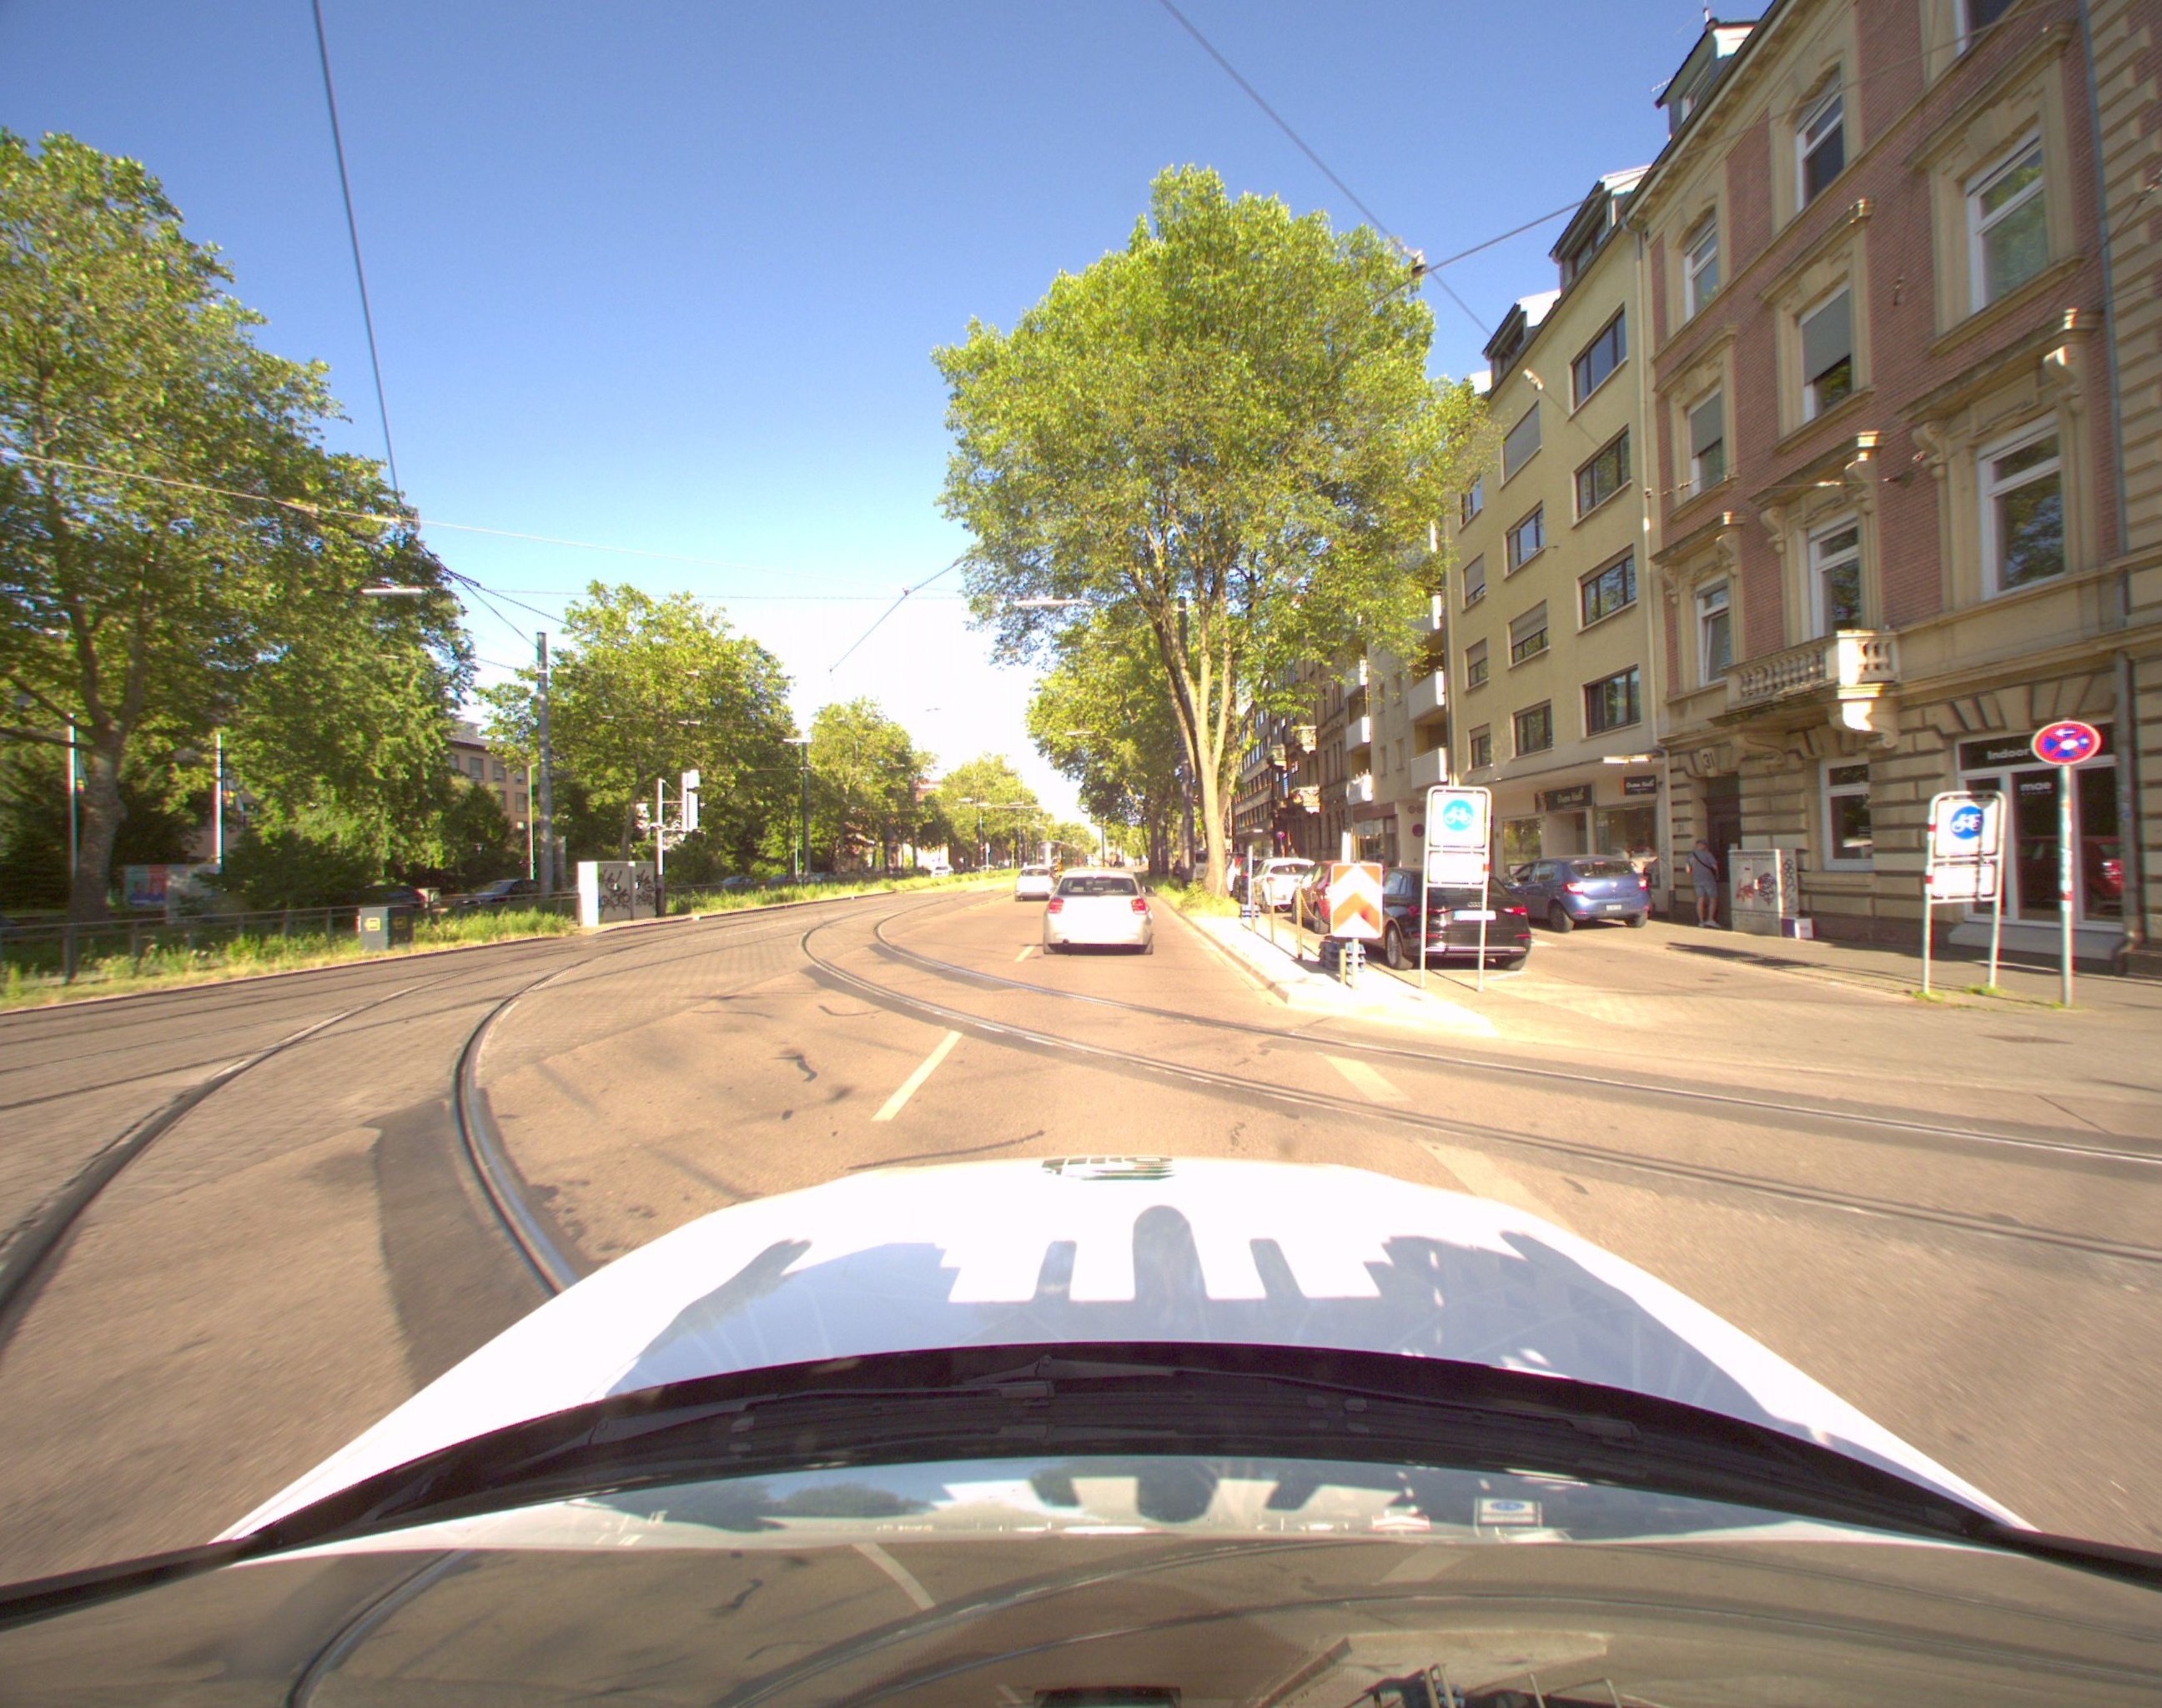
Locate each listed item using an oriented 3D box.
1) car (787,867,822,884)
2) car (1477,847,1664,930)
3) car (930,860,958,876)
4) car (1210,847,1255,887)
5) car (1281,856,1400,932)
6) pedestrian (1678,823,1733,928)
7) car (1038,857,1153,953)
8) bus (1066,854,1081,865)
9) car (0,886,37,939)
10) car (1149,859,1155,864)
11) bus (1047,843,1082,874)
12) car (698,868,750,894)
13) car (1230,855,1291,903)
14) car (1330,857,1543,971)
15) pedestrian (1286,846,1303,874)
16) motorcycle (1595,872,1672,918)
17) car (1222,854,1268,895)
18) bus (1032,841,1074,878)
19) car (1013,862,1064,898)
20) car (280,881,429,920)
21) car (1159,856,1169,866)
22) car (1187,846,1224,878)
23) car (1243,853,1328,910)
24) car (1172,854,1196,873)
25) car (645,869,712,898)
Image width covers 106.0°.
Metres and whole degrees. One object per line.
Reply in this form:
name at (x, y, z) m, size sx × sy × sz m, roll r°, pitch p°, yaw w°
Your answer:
car at (-23.615, 1.806, 69.619) m, size 1.561 × 1.312 × 3.507 m, roll 0°, pitch 0°, yaw 4°
car at (10.553, 0.662, 17.947) m, size 1.687 × 1.480 × 4.001 m, roll -5°, pitch 0°, yaw 1°
car at (-14.285, 1.424, 85.229) m, size 1.878 × 1.619 × 4.601 m, roll 0°, pitch 0°, yaw 3°
car at (6.634, 0.521, 35.972) m, size 1.617 × 1.668 × 4.148 m, roll 0°, pitch 0°, yaw 6°
car at (5.549, 0.783, 17.850) m, size 1.582 × 1.434 × 3.909 m, roll 0°, pitch 0°, yaw 4°
pedestrian at (12.396, 0.413, 16.179) m, size 0.509 × 2.013 × 0.854 m, roll 0°, pitch 0°, yaw 7°
car at (0.330, 0.783, 14.425) m, size 1.755 × 1.432 × 4.003 m, roll 0°, pitch 0°, yaw 3°
bus at (-2.431, 1.736, 268.086) m, size 2.856 × 3.628 × 24.630 m, roll -1°, pitch 0°, yaw 4°
car at (-26.472, 1.409, 18.074) m, size 1.613 × 1.221 × 3.767 m, roll -2°, pitch 0°, yaw 4°
car at (21.325, 2.211, 243.344) m, size 1.693 × 1.534 × 3.721 m, roll 0°, pitch 0°, yaw 4°
bus at (-1.839, 0.489, 96.791) m, size 2.856 × 3.444 × 12.228 m, roll -1°, pitch 0°, yaw 4°
car at (-25.379, 1.881, 57.996) m, size 1.814 × 1.683 × 4.003 m, roll 0°, pitch 0°, yaw 2°
car at (6.011, 0.802, 27.597) m, size 1.554 × 1.485 × 3.793 m, roll 0°, pitch 0°, yaw 5°
car at (5.244, 0.785, 12.641) m, size 1.689 × 1.421 × 4.173 m, roll 0°, pitch 0°, yaw 3°
pedestrian at (14.008, 0.394, 53.486) m, size 0.995 × 1.840 × 0.716 m, roll 0°, pitch 0°, yaw 5°
motorcycle at (12.326, 0.890, 18.239) m, size 0.483 × 0.895 × 1.874 m, roll -4°, pitch 0°, yaw 3°
car at (6.374, 0.759, 31.921) m, size 1.504 × 1.480 × 3.498 m, roll 0°, pitch 0°, yaw 7°
bus at (-2.765, 0.556, 84.292) m, size 2.856 × 3.444 × 13.231 m, roll -1°, pitch 0°, yaw 4°
car at (-1.685, 1.031, 33.647) m, size 1.639 × 1.363 × 3.764 m, roll 0°, pitch 0°, yaw 4°
car at (-26.122, 1.642, 29.469) m, size 1.588 × 1.223 × 4.028 m, roll 0°, pitch -1°, yaw 3°
car at (16.604, 1.361, 162.662) m, size 1.747 × 1.965 × 4.742 m, roll -1°, pitch 0°, yaw 4°
car at (7.424, 0.457, 48.840) m, size 1.856 × 1.815 × 4.806 m, roll 0°, pitch 0°, yaw 5°
car at (5.782, 0.719, 23.443) m, size 1.620 × 1.477 × 3.699 m, roll 0°, pitch 0°, yaw 2°
car at (8.538, 0.786, 67.866) m, size 1.797 × 1.490 × 4.926 m, roll 0°, pitch 0°, yaw 5°
car at (-25.822, 1.863, 52.458) m, size 1.986 × 1.683 × 4.515 m, roll 0°, pitch 0°, yaw 1°
